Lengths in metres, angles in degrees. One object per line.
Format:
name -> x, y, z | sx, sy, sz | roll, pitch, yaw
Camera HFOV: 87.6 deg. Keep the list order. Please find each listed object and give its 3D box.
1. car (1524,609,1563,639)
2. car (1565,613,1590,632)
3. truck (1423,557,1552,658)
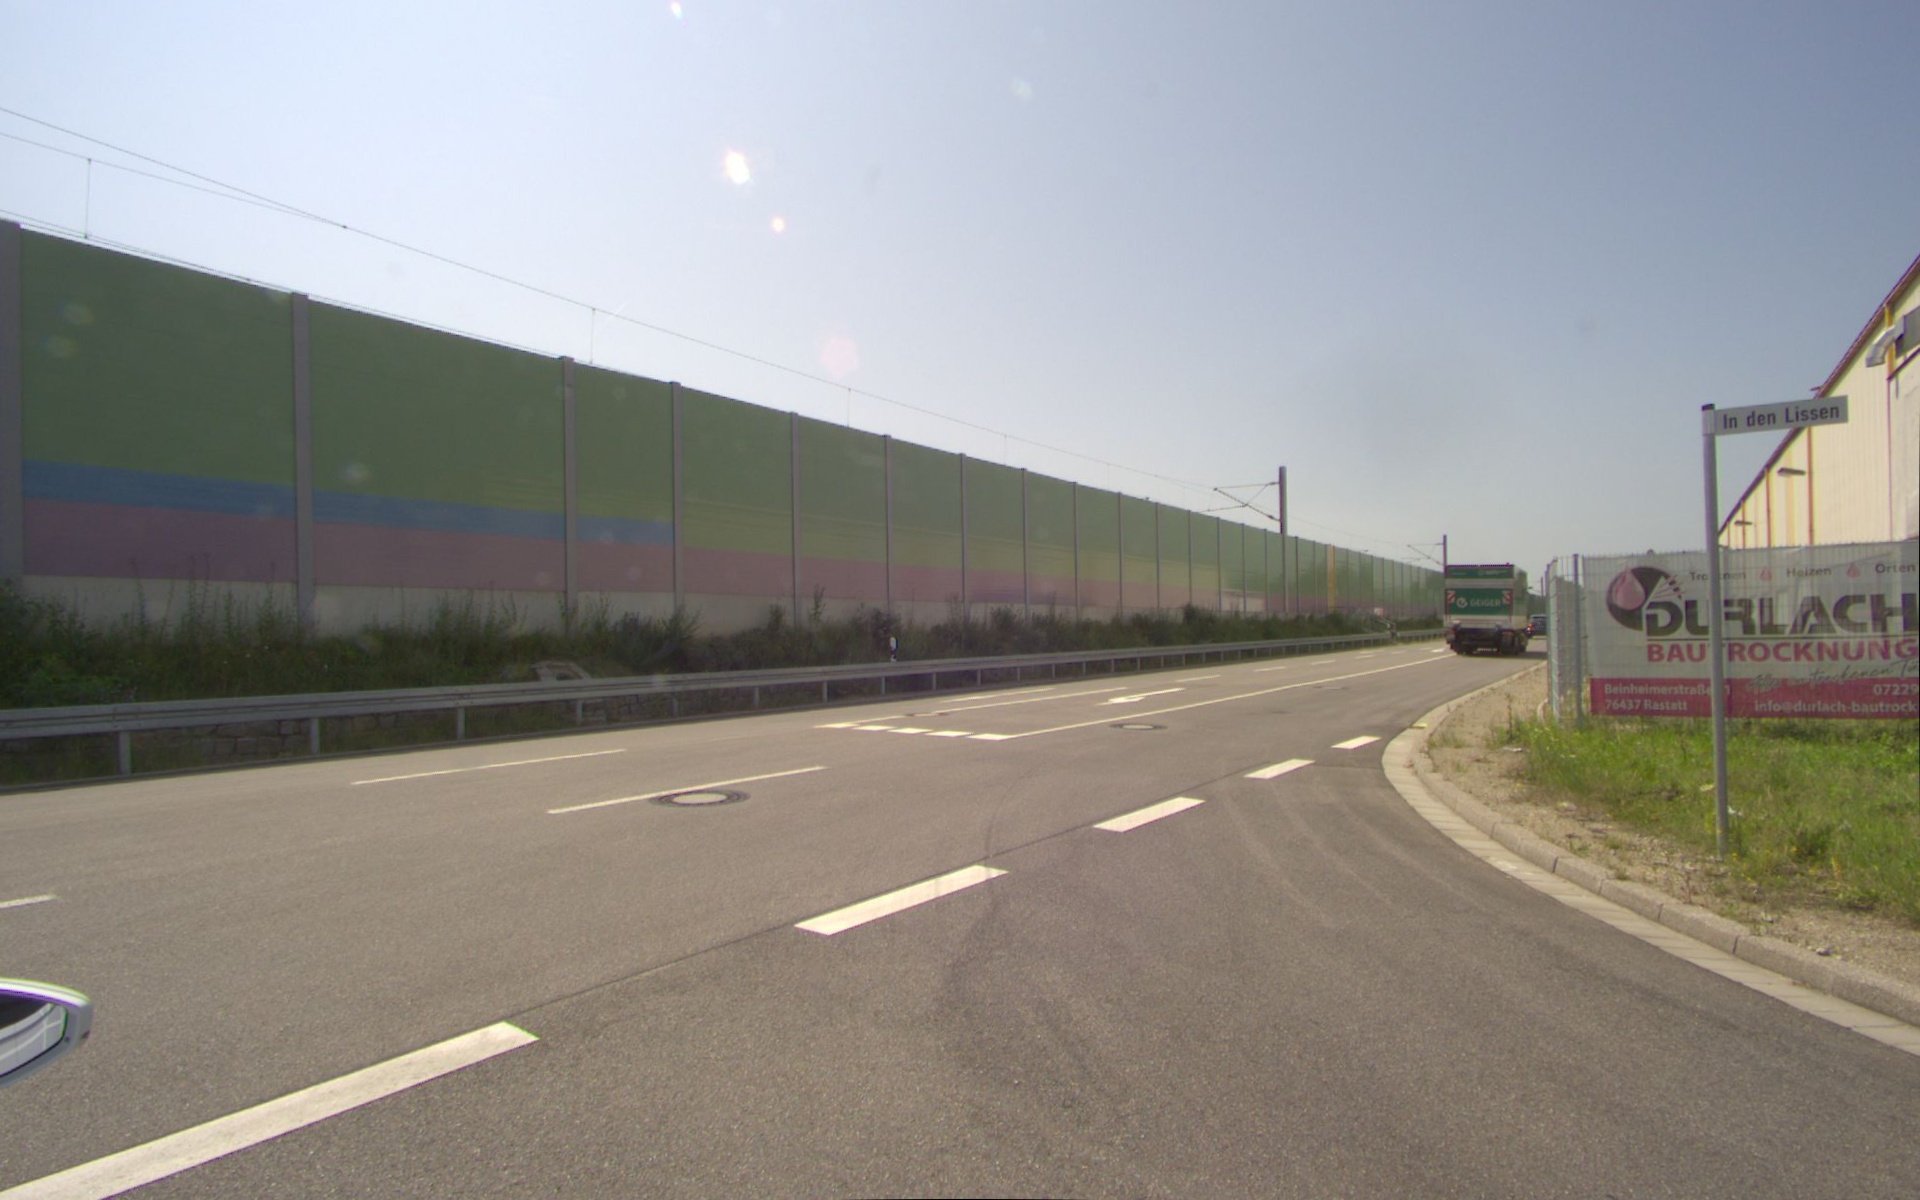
car -> 40.648, 1.679, 69.690 | 1.974, 2.039, 3.976 | -1, -2, 36
car -> 68.279, 2.476, 110.695 | 1.974, 2.039, 3.975 | -2, -2, 36
truck -> 23.725, 0.432, 44.627 | 3.520, 3.928, 11.343 | -1, -1, 36
